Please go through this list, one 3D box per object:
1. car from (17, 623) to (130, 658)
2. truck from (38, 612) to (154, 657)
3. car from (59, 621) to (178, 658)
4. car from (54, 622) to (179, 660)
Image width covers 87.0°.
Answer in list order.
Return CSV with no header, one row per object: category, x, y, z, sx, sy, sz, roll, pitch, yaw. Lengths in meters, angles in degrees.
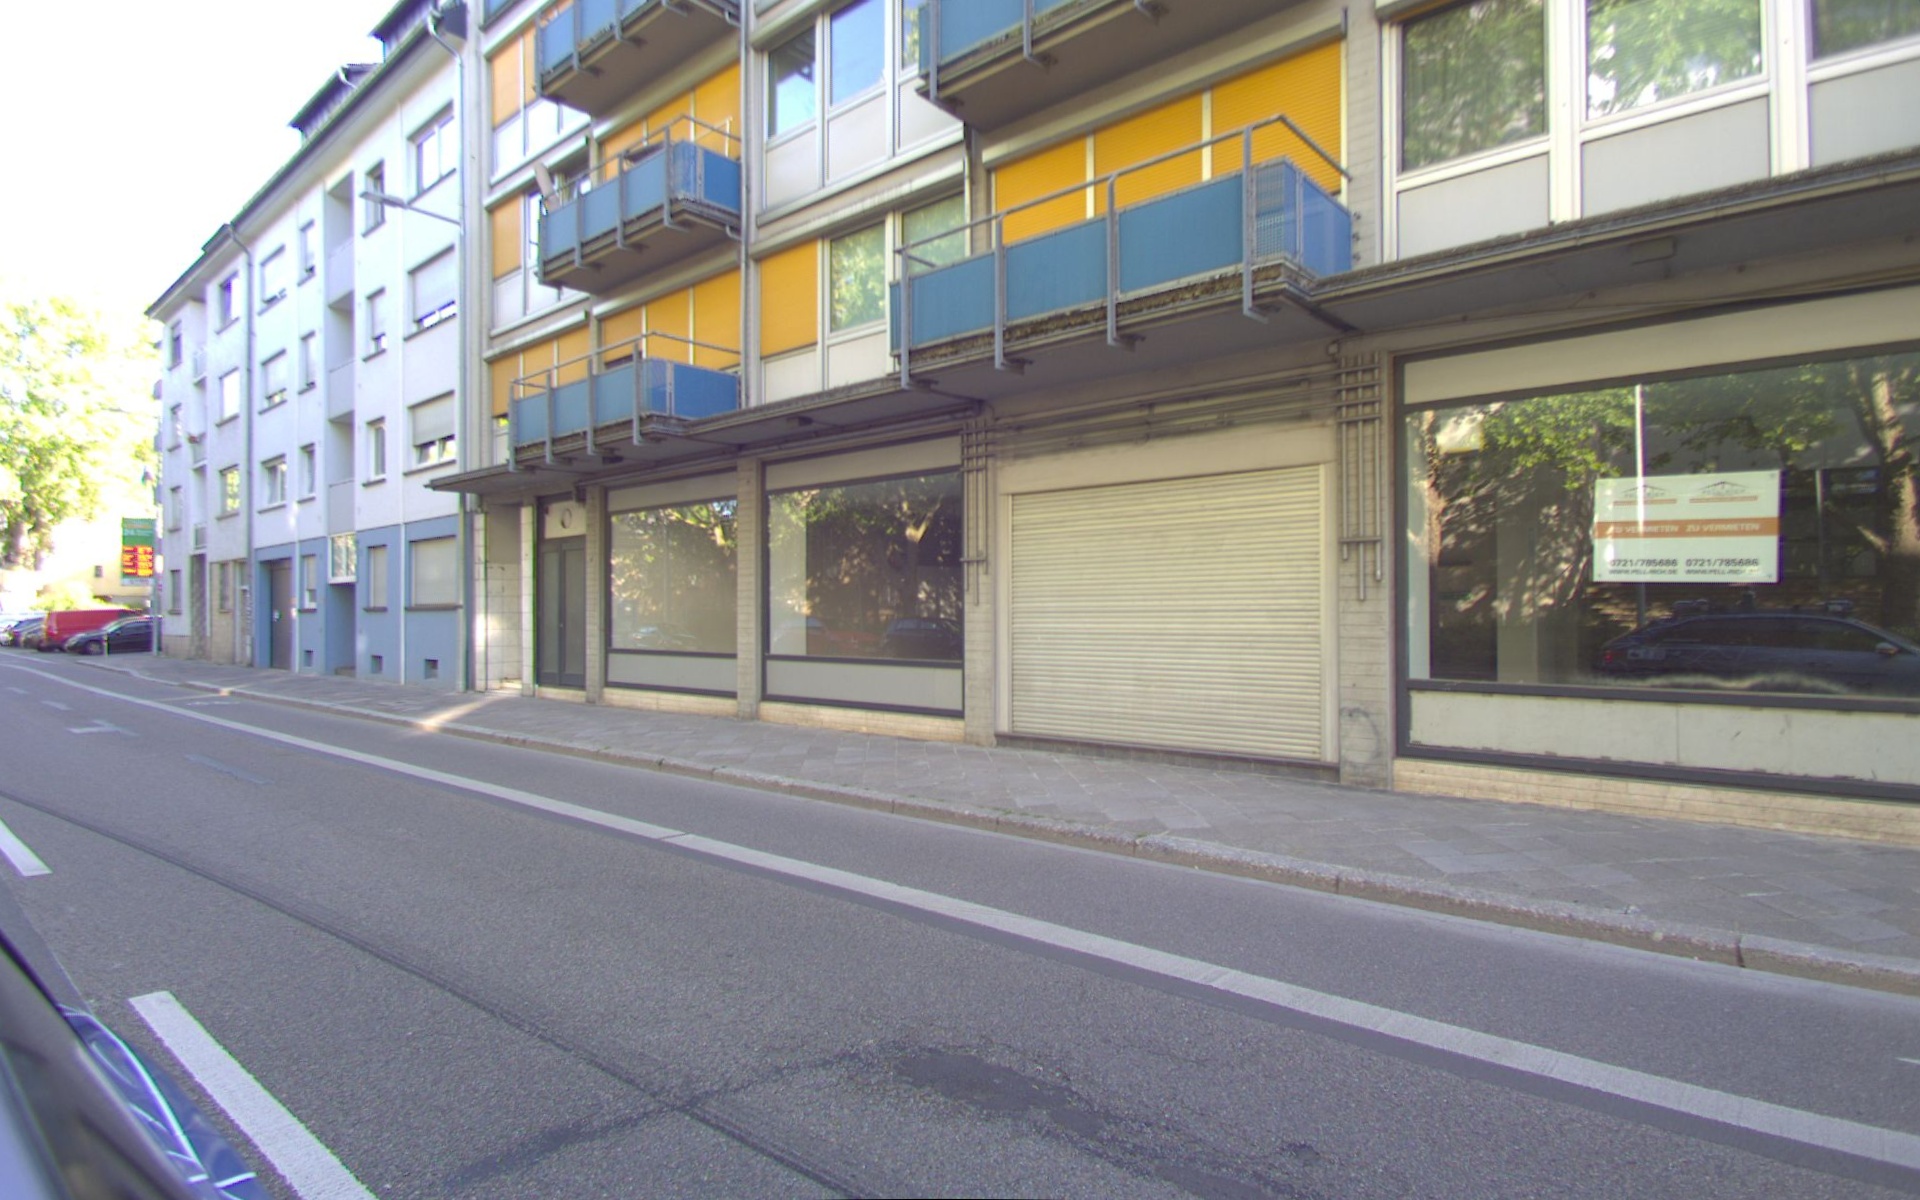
car,-42.915,1.904,49.044,1.761,1.514,3.944,-1,0,42
truck,-40.505,1.572,47.497,1.761,1.951,3.944,-1,0,42
car,-38.114,1.760,45.905,1.761,1.514,3.944,-1,0,42
car,-36.634,1.763,44.017,1.761,1.468,3.944,-1,0,42
